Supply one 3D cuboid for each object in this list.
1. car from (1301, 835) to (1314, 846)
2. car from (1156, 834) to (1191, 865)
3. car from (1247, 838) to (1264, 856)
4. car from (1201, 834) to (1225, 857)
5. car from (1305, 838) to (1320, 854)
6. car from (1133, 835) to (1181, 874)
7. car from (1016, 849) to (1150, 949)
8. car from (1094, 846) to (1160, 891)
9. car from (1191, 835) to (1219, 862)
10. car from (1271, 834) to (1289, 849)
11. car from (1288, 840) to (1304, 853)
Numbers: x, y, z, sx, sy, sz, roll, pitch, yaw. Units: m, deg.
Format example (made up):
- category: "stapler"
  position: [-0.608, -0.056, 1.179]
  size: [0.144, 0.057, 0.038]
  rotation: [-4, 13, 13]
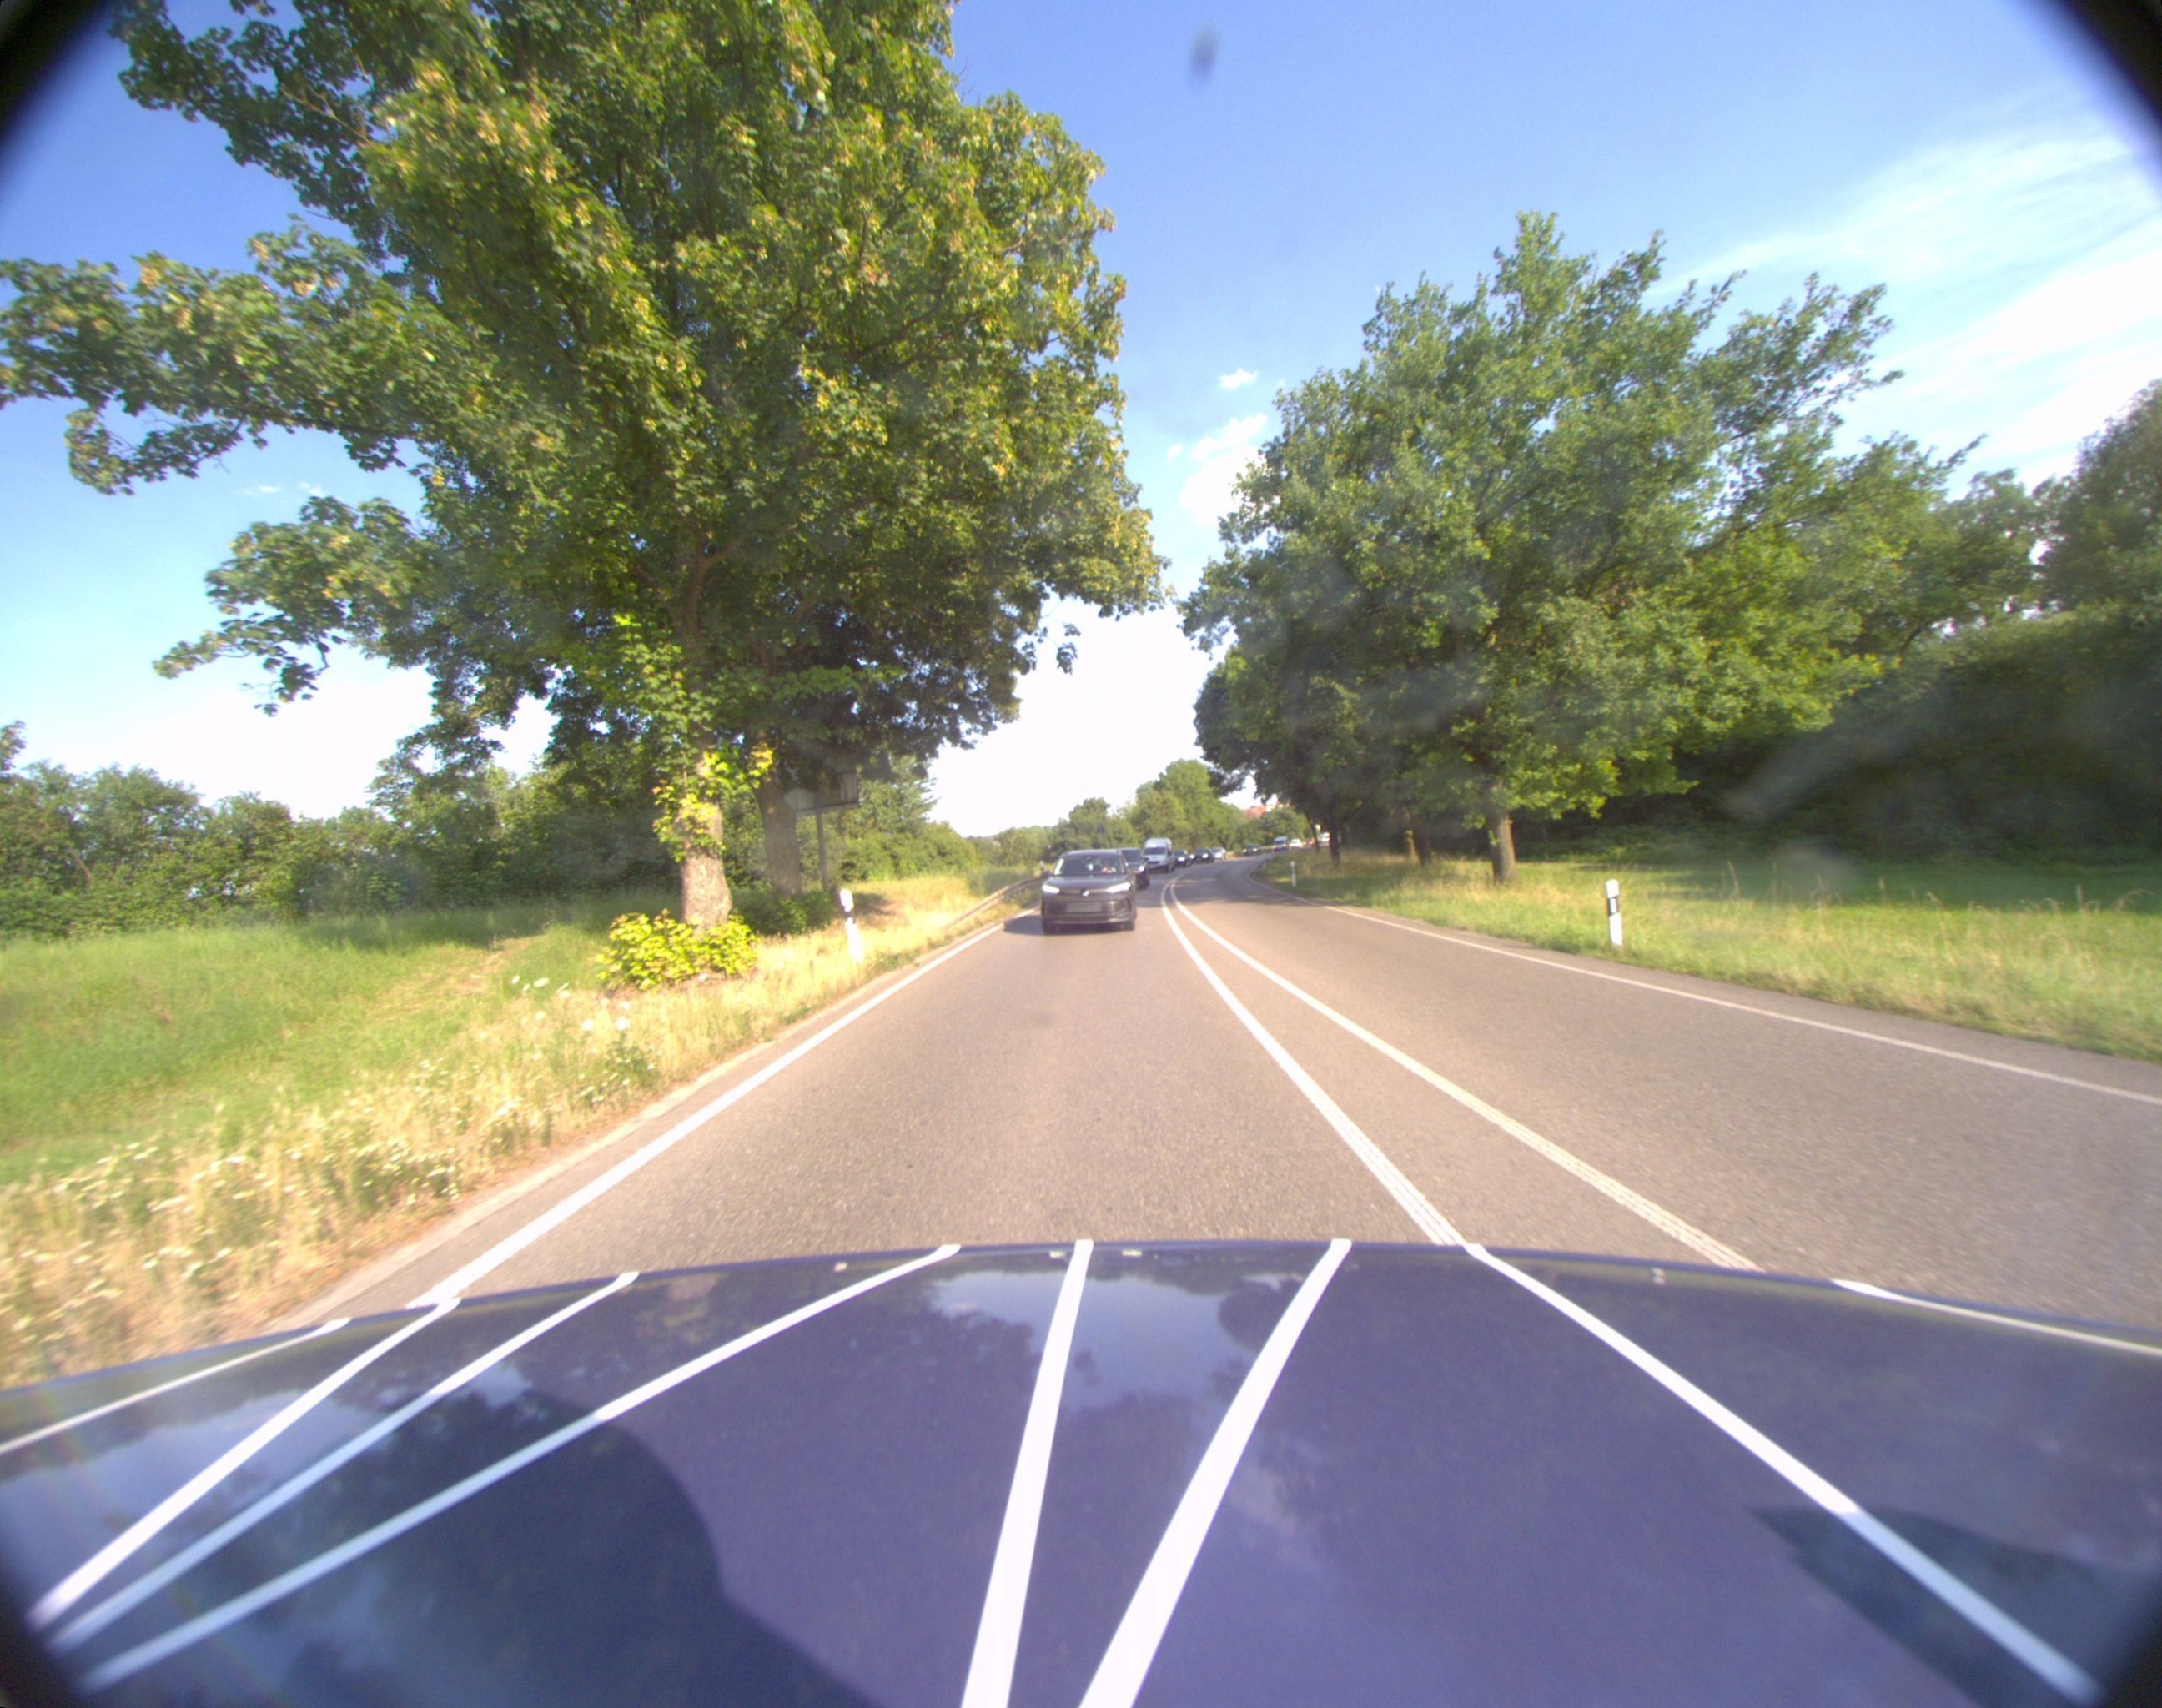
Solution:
- category: "car"
  position: [52.706, -3.083, 176.645]
  size: [2.085, 2.403, 5.150]
  rotation: [-2, 1, 27]
- category: "car"
  position: [7.689, -0.414, 62.837]
  size: [2.086, 2.403, 5.147]
  rotation: [-2, 1, 15]
- category: "car"
  position: [24.678, -1.058, 107.199]
  size: [2.086, 2.403, 5.147]
  rotation: [-2, 1, 15]
- category: "car"
  position: [14.994, -0.976, 86.226]
  size: [2.086, 2.403, 5.147]
  rotation: [-2, 1, 15]
- category: "car"
  position: [39.423, -1.403, 129.439]
  size: [2.085, 2.403, 5.148]
  rotation: [-2, 1, 20]
- category: "car"
  position: [5.243, -0.026, 51.826]
  size: [2.086, 2.403, 5.148]
  rotation: [-2, 1, 18]
- category: "car"
  position: [0.236, 0.776, 15.580]
  size: [1.921, 1.612, 4.704]
  rotation: [-3, 1, 10]
- category: "car"
  position: [2.059, 0.576, 32.795]
  size: [1.920, 1.718, 4.706]
  rotation: [-3, 0, 14]
- category: "car"
  position: [12.149, -0.570, 74.410]
  size: [2.086, 2.403, 5.147]
  rotation: [-2, 1, 15]
- category: "car"
  position: [35.652, -2.262, 135.870]
  size: [2.085, 2.403, 5.150]
  rotation: [-2, 1, 27]
- category: "car"
  position: [42.950, -1.467, 152.010]
  size: [2.085, 2.403, 5.150]
  rotation: [-2, 1, 27]
